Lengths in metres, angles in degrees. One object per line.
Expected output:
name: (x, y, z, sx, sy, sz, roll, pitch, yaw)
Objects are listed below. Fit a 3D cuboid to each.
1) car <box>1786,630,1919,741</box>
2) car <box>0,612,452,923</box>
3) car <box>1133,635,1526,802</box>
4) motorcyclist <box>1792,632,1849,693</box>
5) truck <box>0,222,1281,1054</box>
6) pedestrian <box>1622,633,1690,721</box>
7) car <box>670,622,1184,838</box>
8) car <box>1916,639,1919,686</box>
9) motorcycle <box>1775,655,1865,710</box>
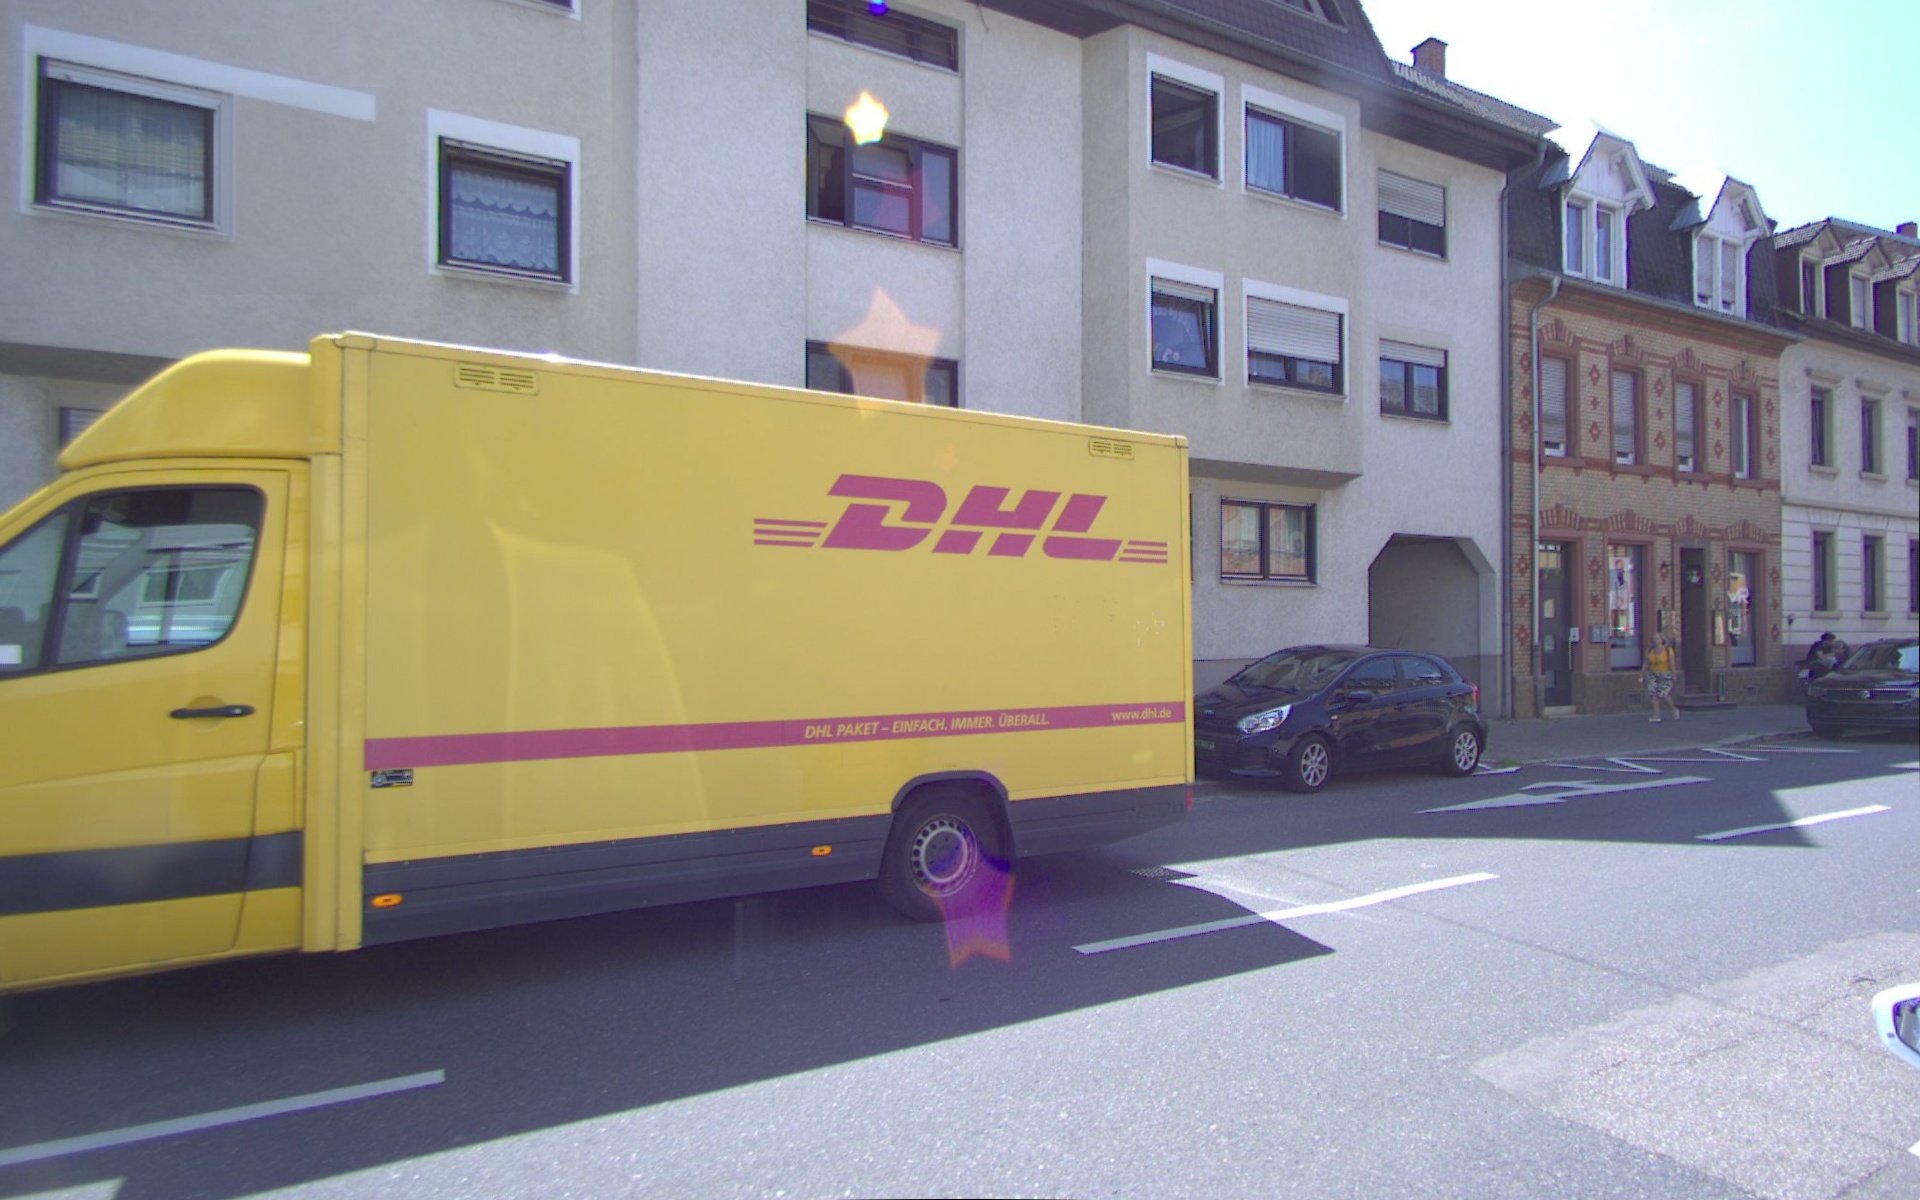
car: (15.670, 1.350, 16.383, 4.447, 1.617, 1.833, 2, -4, -29)
car: (-5.623, 0.914, 6.190, 4.336, 1.617, 1.830, 2, 0, -31)
car: (4.312, 1.219, 11.549, 4.450, 1.508, 1.830, 2, 0, -31)
motorcyclist: (18.423, 1.328, 21.510, 0.703, 1.264, 0.715, 1, -2, -29)
truck: (-1.798, 0.215, 5.460, 7.471, 2.807, 2.217, 1, -3, -29)
pedestrian: (12.437, 1.362, 17.942, 0.959, 1.515, 0.606, 1, 0, -27)
car: (-0.231, 1.022, 9.177, 4.334, 1.508, 1.831, 2, 0, -30)
car: (20.587, 1.538, 19.325, 4.447, 1.617, 1.833, 2, -5, -29)
motorcycle: (18.383, 1.741, 21.472, 1.848, 1.092, 0.842, 1, -2, -28)
